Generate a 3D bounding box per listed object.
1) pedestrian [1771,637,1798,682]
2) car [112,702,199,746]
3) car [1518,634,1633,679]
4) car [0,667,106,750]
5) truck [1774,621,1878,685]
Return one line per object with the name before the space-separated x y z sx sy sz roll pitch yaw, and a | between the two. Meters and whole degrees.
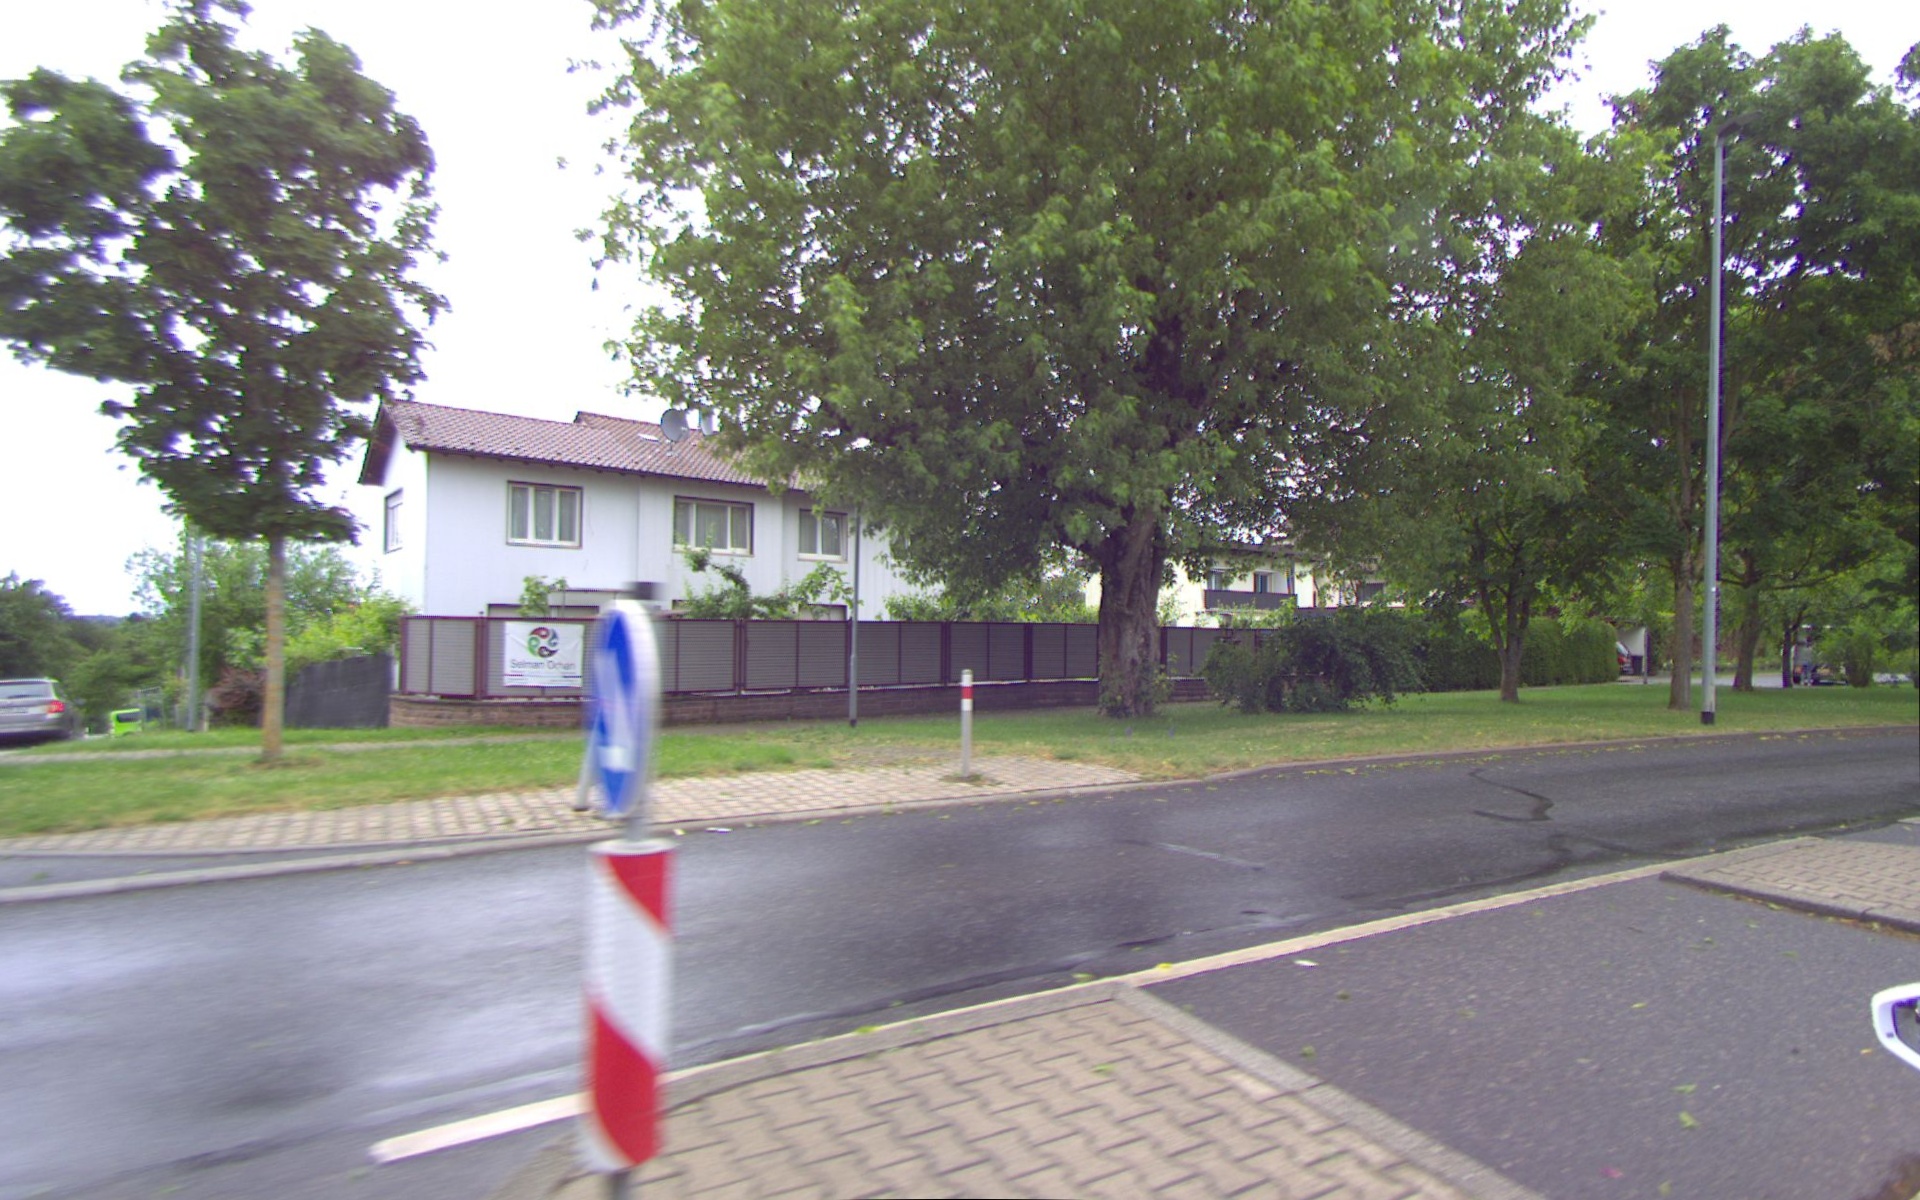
pedestrian | 34.993 2.506 42.620 0.816 1.865 0.704 1 -2 -36
car | -47.563 7.315 59.484 3.964 2.114 1.781 -1 -1 -38
car | 27.036 2.468 44.219 1.864 1.839 3.954 2 -2 -40
car | -19.077 2.166 20.660 1.828 1.506 3.962 2 -4 -34
truck | 38.037 2.304 44.094 5.819 2.631 2.269 2 -2 -37
